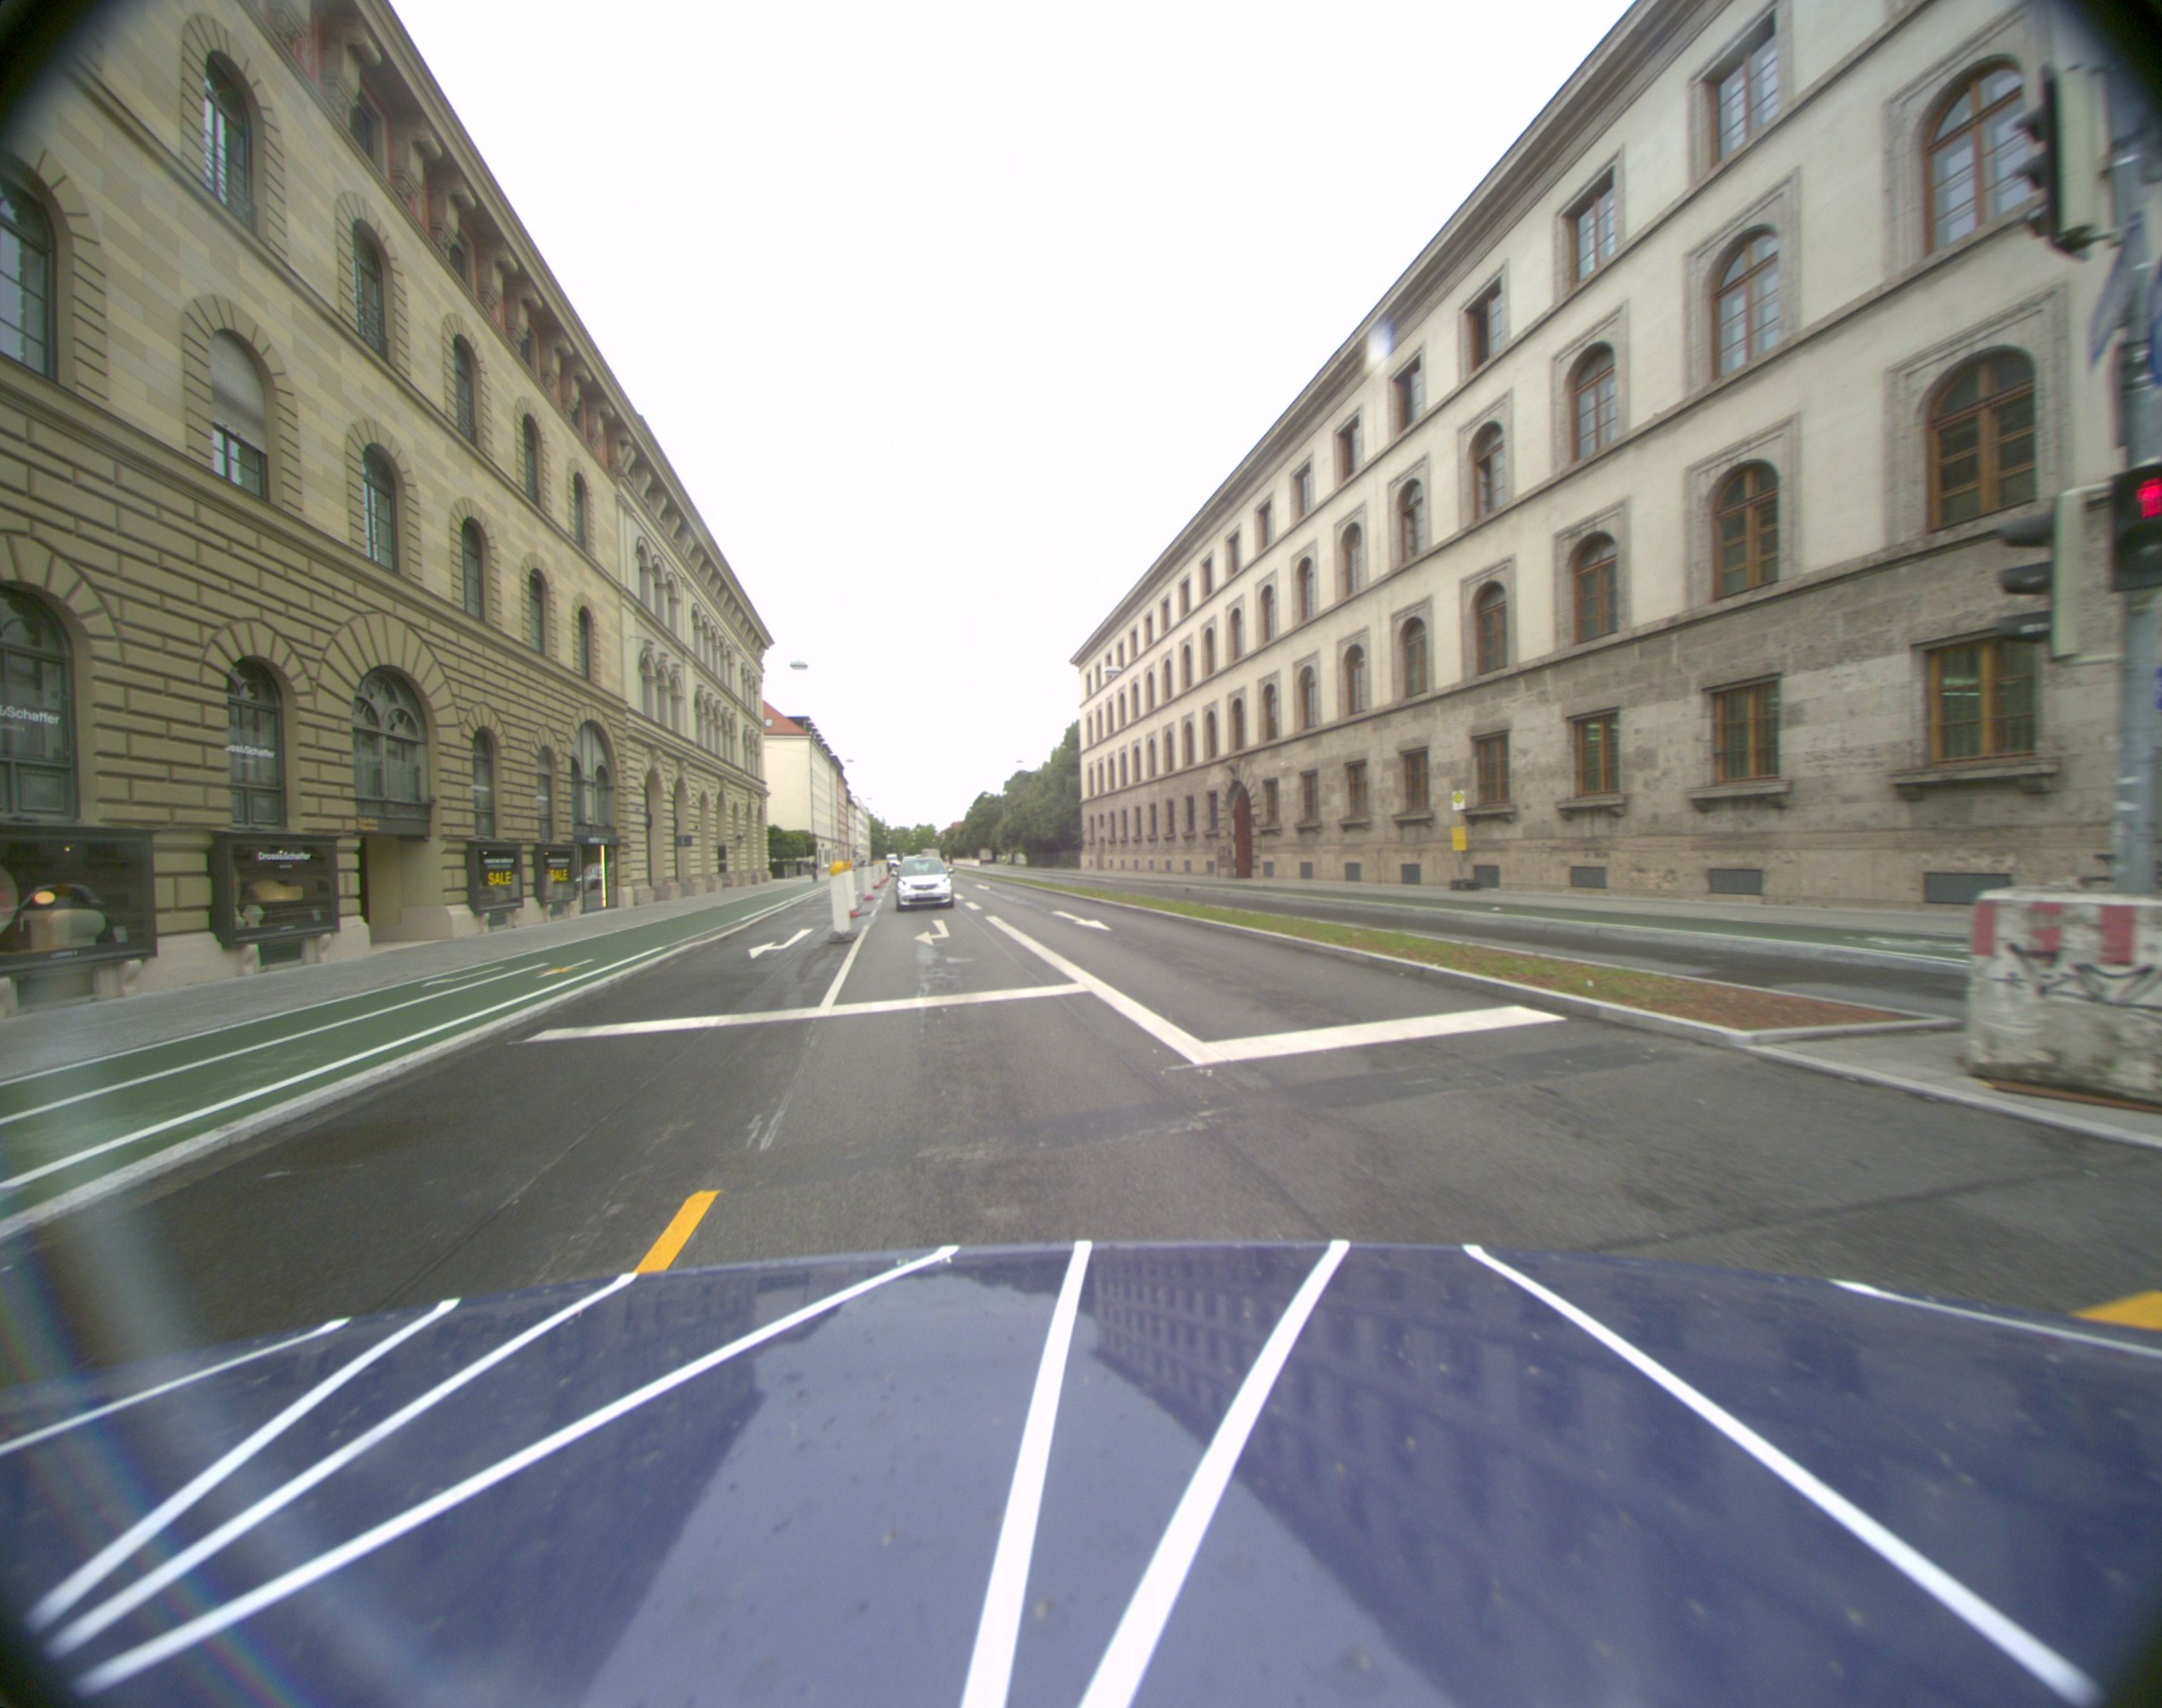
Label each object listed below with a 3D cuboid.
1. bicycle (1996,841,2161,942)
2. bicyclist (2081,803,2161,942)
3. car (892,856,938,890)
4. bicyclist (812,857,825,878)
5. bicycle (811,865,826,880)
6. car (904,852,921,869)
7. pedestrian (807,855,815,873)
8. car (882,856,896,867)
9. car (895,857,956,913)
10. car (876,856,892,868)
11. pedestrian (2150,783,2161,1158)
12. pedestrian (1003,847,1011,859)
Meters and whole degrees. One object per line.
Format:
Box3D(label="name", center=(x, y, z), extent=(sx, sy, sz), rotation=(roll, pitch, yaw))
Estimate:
Box3D(label="bicycle", center=(13.956, 0.469, 9.957), extent=(0.789, 1.235, 2.447), rotation=(-3, 1, -8))
Box3D(label="bicyclist", center=(13.940, 0.220, 9.958), extent=(0.801, 1.738, 0.688), rotation=(-3, 1, -9))
Box3D(label="car", center=(-8.089, 0.868, 36.895), extent=(1.924, 1.433, 4.301), rotation=(-4, 1, -13))
Box3D(label="bicyclist", center=(-19.652, 1.026, 56.853), extent=(0.725, 1.543, 0.857), rotation=(-3, 1, -13))
Box3D(label="bicycle", center=(-19.626, 1.361, 56.829), extent=(0.751, 1.026, 2.528), rotation=(-3, 1, -13))
Box3D(label="car", center=(-21.193, 0.808, 95.529), extent=(2.001, 2.002, 3.995), rotation=(-2, 1, -13))
Box3D(label="pedestrian", center=(-28.136, 1.063, 79.097), extent=(0.655, 1.863, 0.825), rotation=(-1, 1, -13))
Box3D(label="car", center=(-25.781, 0.983, 102.098), extent=(1.741, 1.425, 3.995), rotation=(-3, 1, -13))
Box3D(label="car", center=(-4.879, 0.889, 23.680), extent=(1.635, 1.495, 3.995), rotation=(-3, 1, -13))
Box3D(label="car", center=(-25.051, 0.996, 96.776), extent=(1.741, 1.313, 3.995), rotation=(-3, 1, -13))
Box3D(label="pedestrian", center=(5.397, 0.528, 3.138), extent=(0.515, 1.733, 1.041), rotation=(-3, 1, -23))
Box3D(label="pedestrian", center=(-11.864, -0.162, 121.574), extent=(0.756, 2.002, 0.869), rotation=(-2, 1, 31))
